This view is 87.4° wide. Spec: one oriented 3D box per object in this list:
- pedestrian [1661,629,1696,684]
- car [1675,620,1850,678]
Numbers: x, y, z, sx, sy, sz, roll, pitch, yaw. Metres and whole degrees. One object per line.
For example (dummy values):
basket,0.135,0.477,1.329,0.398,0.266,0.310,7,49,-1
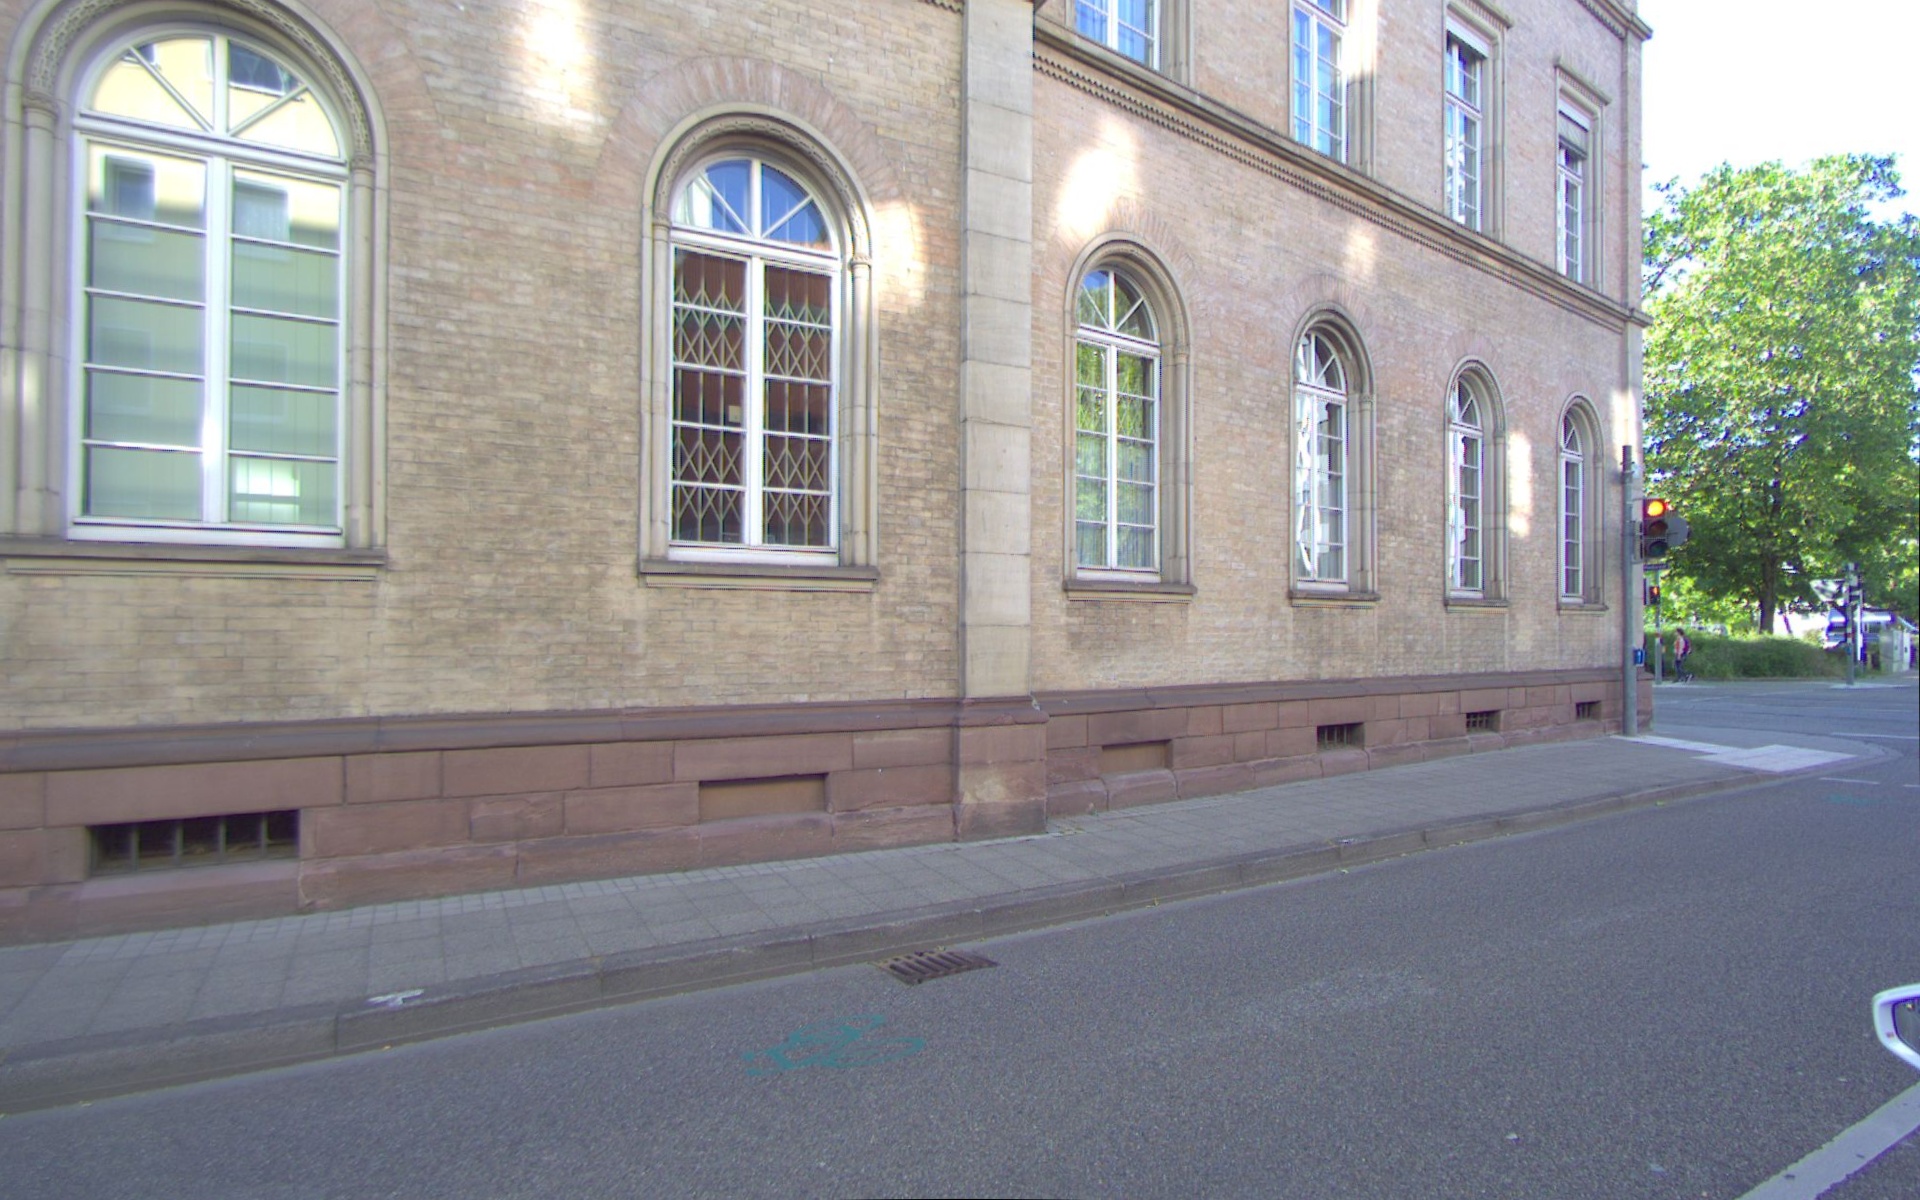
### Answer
pedestrian,21.599,1.691,30.207,0.700,1.620,0.617,0,-1,23
car,26.335,1.563,33.101,1.888,1.801,4.193,1,-2,-37
